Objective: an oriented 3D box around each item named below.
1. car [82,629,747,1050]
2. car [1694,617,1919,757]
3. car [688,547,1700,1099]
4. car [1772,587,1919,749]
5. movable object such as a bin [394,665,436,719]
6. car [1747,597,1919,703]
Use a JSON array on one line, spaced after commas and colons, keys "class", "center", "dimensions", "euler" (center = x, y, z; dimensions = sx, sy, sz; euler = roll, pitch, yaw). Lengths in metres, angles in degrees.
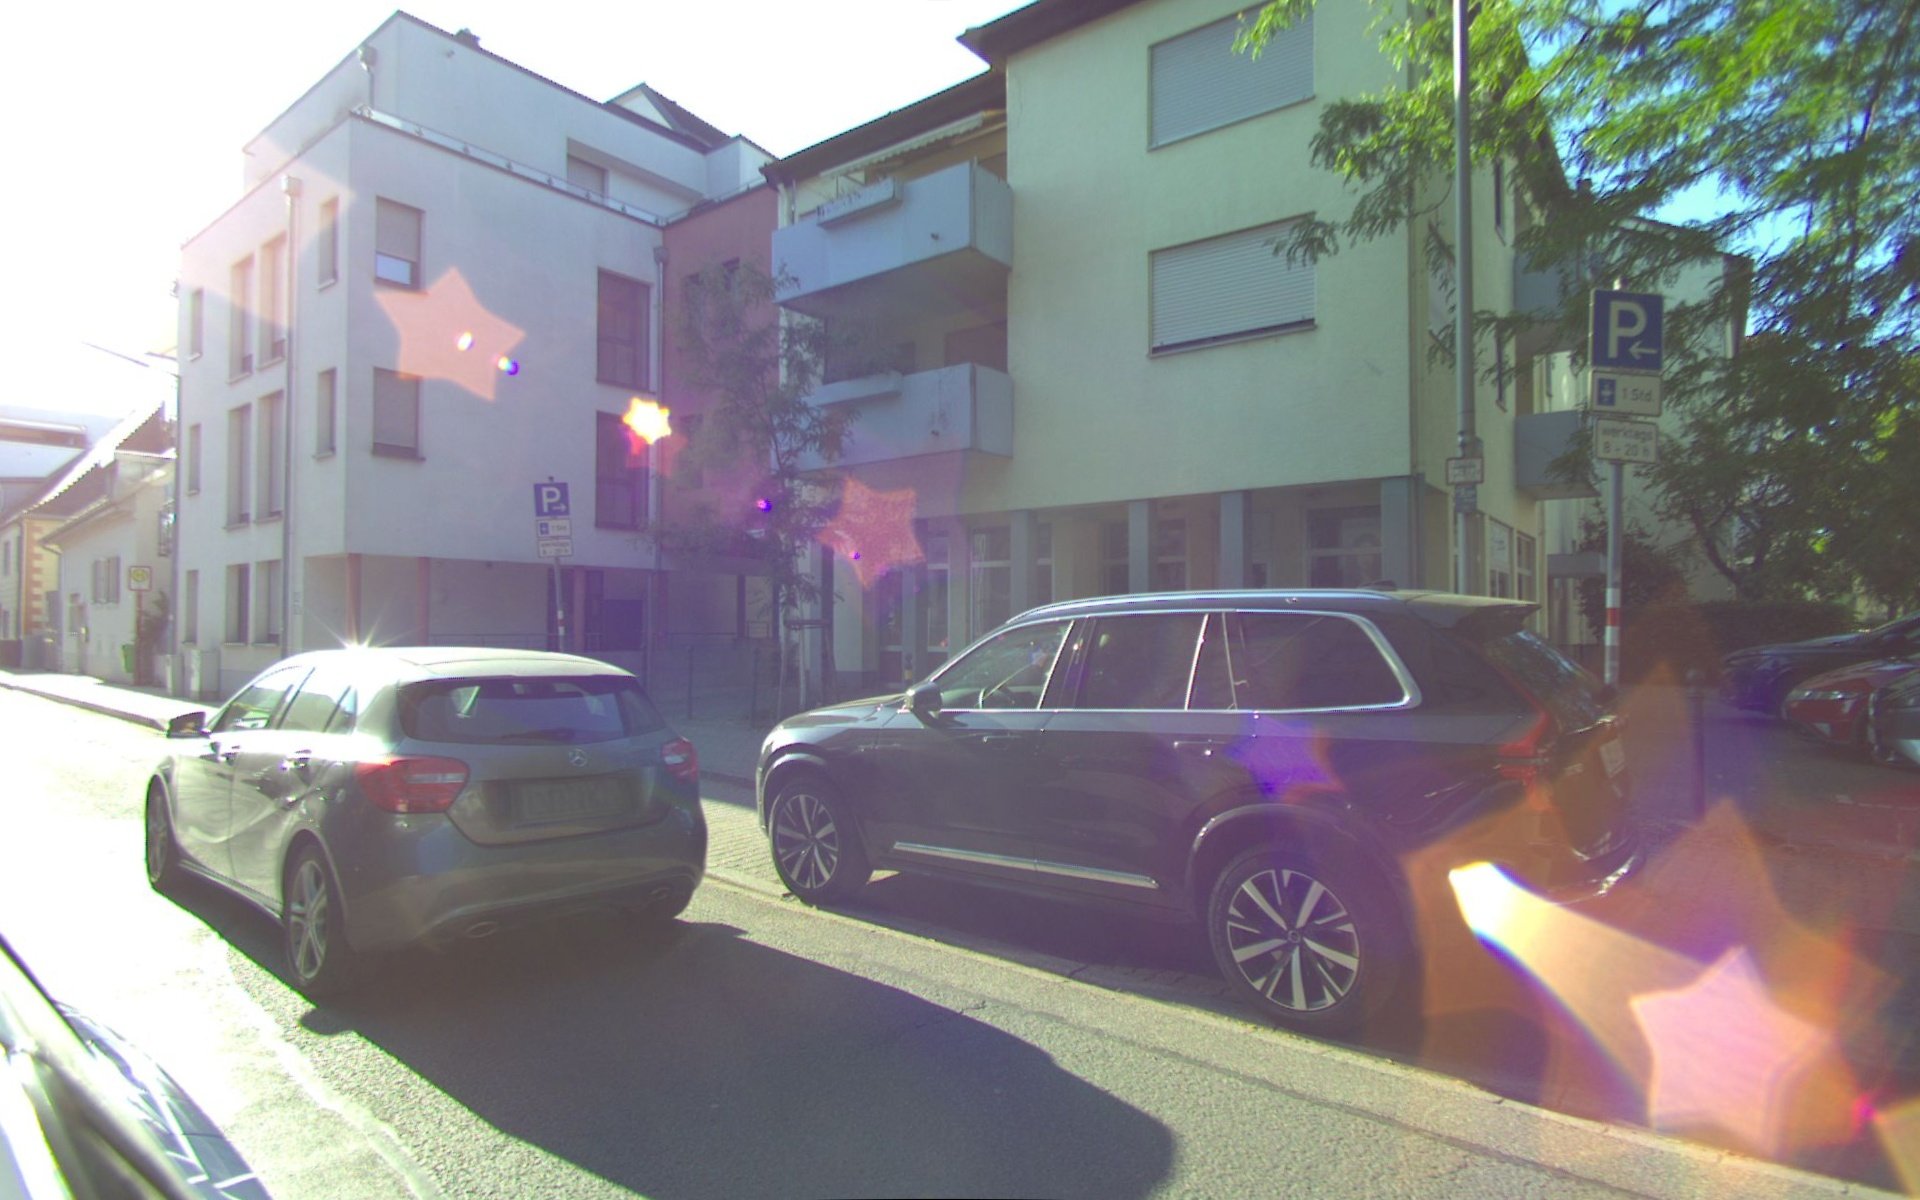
[{"class": "car", "center": [-3.162, 0.914, 5.546], "dimensions": [3.995, 1.478, 1.789], "euler": [-2, -3, 39]}, {"class": "car", "center": [10.506, 0.922, 11.069], "dimensions": [3.813, 1.451, 1.667], "euler": [-2, -3, 43]}, {"class": "car", "center": [0.806, 0.734, 5.560], "dimensions": [5.098, 1.718, 1.911], "euler": [-2, 0, 41]}, {"class": "car", "center": [10.114, 0.609, 8.962], "dimensions": [4.422, 1.452, 1.562], "euler": [-1, -3, 35]}, {"class": "movable object such as a bin", "center": [-9.282, 1.564, 17.227], "dimensions": [0.433, 0.882, 0.485], "euler": [-2, -3, 38]}, {"class": "car", "center": [15.290, 0.765, 15.351], "dimensions": [5.184, 1.572, 1.918], "euler": [-2, -4, 41]}]
